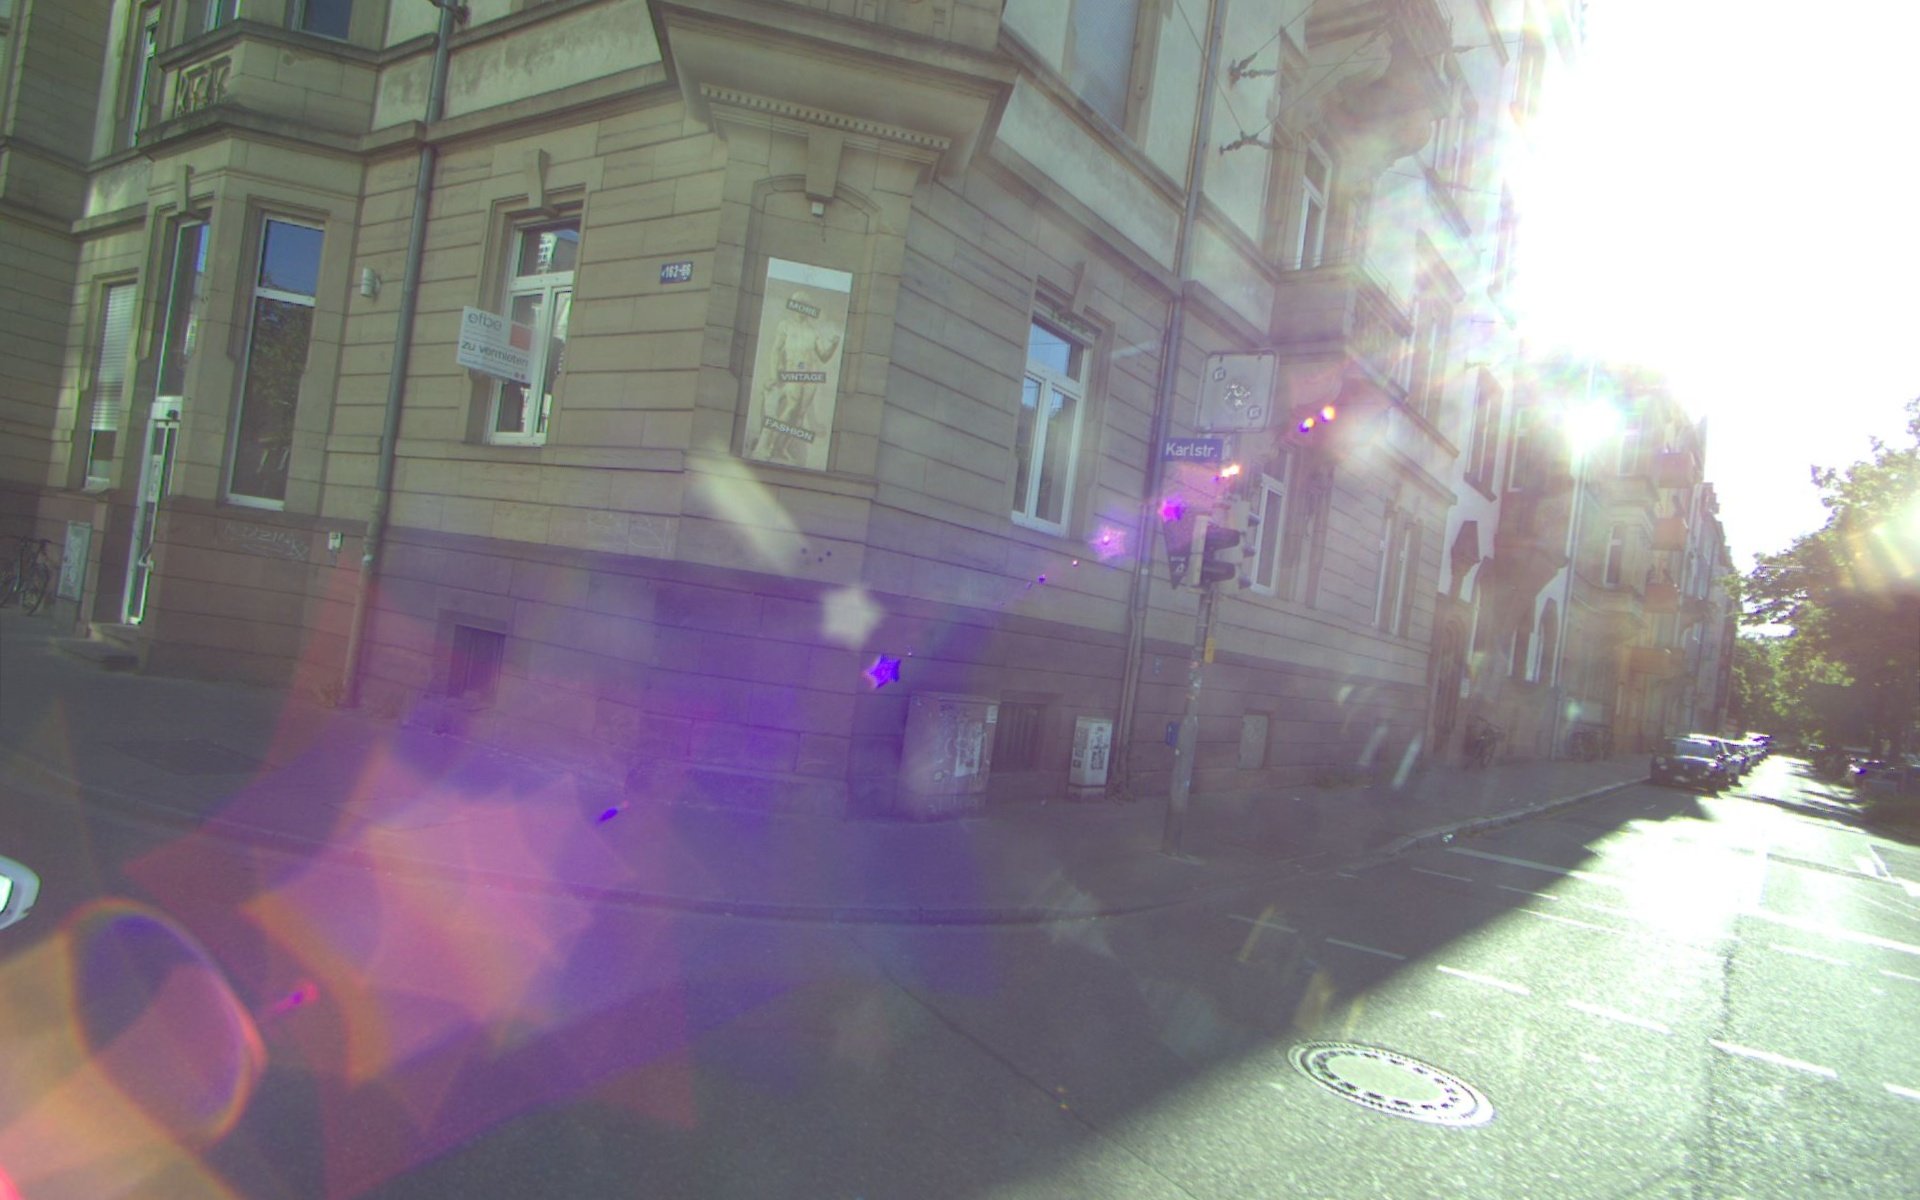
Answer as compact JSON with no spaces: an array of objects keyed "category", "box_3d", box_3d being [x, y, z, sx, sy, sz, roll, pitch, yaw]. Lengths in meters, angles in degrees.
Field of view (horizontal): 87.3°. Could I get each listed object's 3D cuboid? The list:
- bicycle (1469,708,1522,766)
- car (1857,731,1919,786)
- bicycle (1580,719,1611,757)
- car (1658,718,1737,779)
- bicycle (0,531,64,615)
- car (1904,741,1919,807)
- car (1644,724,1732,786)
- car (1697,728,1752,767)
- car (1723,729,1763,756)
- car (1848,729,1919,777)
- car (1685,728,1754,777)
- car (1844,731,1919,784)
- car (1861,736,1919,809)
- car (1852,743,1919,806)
[{"category":"bicycle","box_3d":[12.205,3.114,22.893,0.518,1.187,2.185,4,-3,40]},{"category":"car","box_3d":[39.950,6.701,41.753,3.950,2.035,1.991,2,-5,44]},{"category":"bicycle","box_3d":[21.378,4.635,33.837,0.518,1.187,2.185,4,-3,40]},{"category":"car","box_3d":[24.215,4.830,32.997,1.866,1.586,3.988,6,-2,38]},{"category":"bicycle","box_3d":[-12.888,-0.389,13.867,1.741,1.064,0.256,3,-4,33]},{"category":"car","box_3d":[28.993,5.095,27.928,3.950,1.813,1.824,2,-5,44]},{"category":"car","box_3d":[21.509,4.532,29.674,1.866,1.414,3.988,6,-2,38]},{"category":"car","box_3d":[35.428,6.818,46.639,1.866,1.414,3.988,6,-2,38]},{"category":"car","box_3d":[50.572,9.181,64.988,1.866,1.414,3.988,6,-2,38]},{"category":"car","box_3d":[47.395,7.777,50.590,3.950,2.035,1.991,2,-5,44]},{"category":"car","box_3d":[28.572,5.698,37.871,1.866,1.414,3.988,6,-2,38]},{"category":"car","box_3d":[42.726,7.201,45.512,3.950,2.035,1.991,2,-5,44]},{"category":"car","box_3d":[26.846,4.818,27.061,3.807,1.813,1.688,2,-5,44]},{"category":"car","box_3d":[30.668,5.624,31.541,3.950,1.771,1.824,2,-5,44]}]
